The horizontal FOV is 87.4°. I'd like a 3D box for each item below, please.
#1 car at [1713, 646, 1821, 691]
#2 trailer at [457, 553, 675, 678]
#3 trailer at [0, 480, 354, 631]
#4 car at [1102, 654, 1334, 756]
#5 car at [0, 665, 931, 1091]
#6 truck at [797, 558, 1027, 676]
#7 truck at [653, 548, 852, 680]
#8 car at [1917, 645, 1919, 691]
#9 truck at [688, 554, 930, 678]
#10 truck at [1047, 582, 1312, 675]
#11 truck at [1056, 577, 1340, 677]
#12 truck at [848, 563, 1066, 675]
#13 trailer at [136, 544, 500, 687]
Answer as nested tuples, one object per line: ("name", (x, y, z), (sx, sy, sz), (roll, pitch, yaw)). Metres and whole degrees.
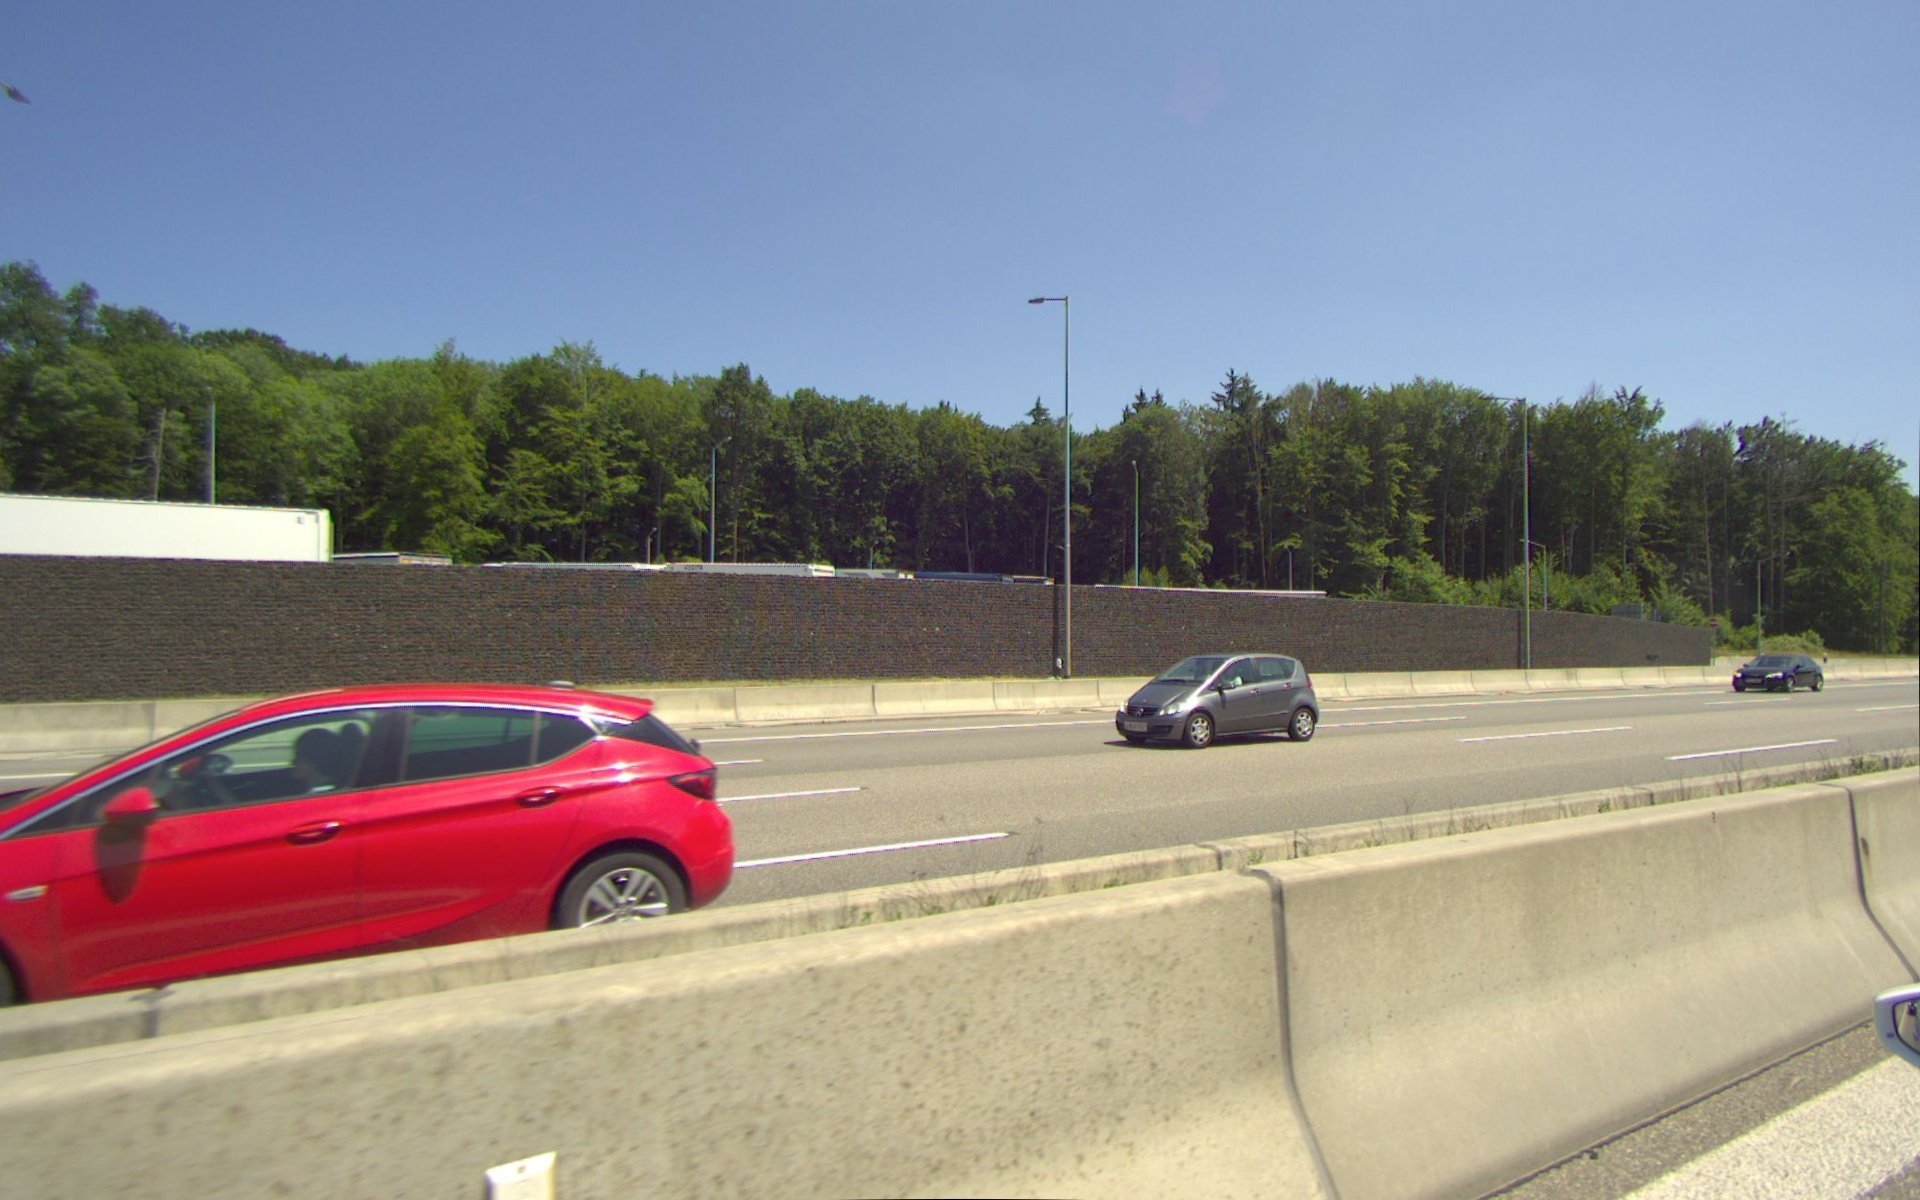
("car", (31.407, 2.630, 39.070), (4.167, 1.642, 1.983), (2, -2, -32))
("trailer", (-19.057, 0.787, 48.658), (9.739, 5.686, 3.230), (0, -2, 15))
("trailer", (-21.954, -0.952, 22.288), (14.438, 3.165, 2.958), (2, -2, -30))
("car", (4.637, 1.786, 17.952), (4.011, 1.575, 1.713), (1, -2, -31))
("car", (-2.740, 1.161, 5.374), (4.985, 1.533, 1.722), (1, -2, -30))
("truck", (-2.446, 0.922, 51.480), (11.305, 5.686, 3.230), (0, -2, 15))
("truck", (-9.470, 0.681, 46.103), (8.317, 5.686, 3.230), (0, -2, 15))
("car", (37.510, 2.491, 36.912), (5.689, 1.642, 1.984), (2, -2, -31))
("truck", (-7.340, 0.810, 49.084), (11.305, 5.686, 3.230), (0, -2, 15))
("truck", (14.020, 1.819, 65.189), (16.374, 5.686, 3.225), (0, -2, 15))
("truck", (14.283, 1.646, 61.375), (16.374, 5.686, 3.453), (0, -2, 15))
("truck", (-0.132, 1.055, 54.351), (11.305, 5.686, 3.370), (0, -2, 15))
("trailer", (-25.296, 0.647, 39.533), (14.273, 5.139, 3.225), (0, -2, 15))
